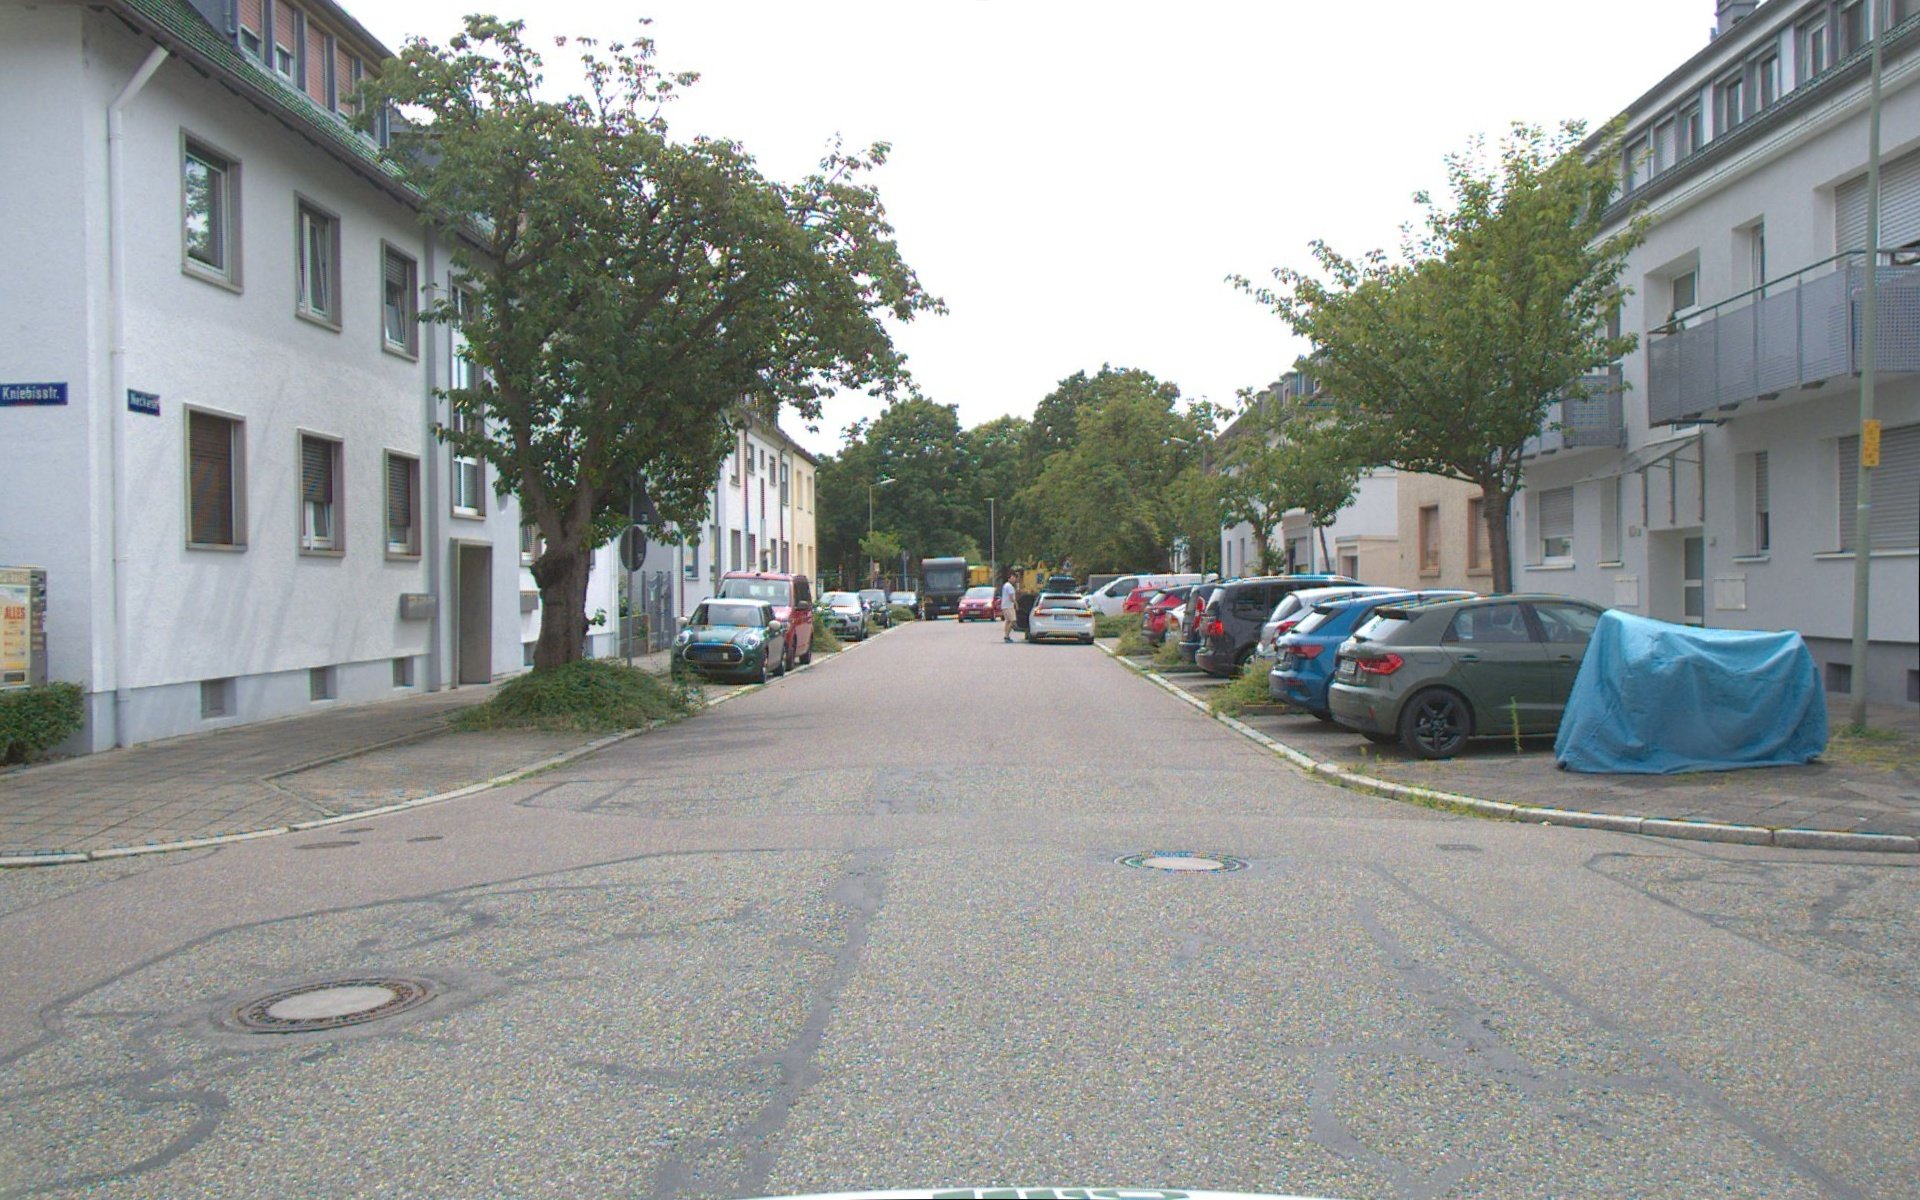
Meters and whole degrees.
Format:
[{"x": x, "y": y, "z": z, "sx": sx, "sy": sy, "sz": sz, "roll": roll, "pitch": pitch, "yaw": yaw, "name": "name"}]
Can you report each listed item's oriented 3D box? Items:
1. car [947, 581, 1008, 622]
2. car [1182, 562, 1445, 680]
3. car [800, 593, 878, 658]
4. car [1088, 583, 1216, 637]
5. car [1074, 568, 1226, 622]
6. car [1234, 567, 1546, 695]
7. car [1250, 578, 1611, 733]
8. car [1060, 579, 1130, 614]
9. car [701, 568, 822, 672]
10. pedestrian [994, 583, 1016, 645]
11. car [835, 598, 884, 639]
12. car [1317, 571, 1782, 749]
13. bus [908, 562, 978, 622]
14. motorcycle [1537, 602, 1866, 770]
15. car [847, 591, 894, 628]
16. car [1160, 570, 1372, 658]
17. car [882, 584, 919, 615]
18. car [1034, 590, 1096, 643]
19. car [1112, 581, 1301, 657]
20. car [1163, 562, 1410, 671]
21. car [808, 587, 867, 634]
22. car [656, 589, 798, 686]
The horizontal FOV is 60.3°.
[{"x": 0.812, "y": 0.059, "z": 72.220, "sx": 1.951, "sy": 1.646, "sz": 4.004, "roll": -3, "pitch": 0, "yaw": 10, "name": "car"}, {"x": 5.401, "y": 0.305, "z": 25.596, "sx": 3.670, "sy": 1.591, "sz": 1.774, "roll": -3, "pitch": 0, "yaw": 2, "name": "car"}, {"x": -3.022, "y": 0.601, "z": 41.859, "sx": 1.617, "sy": 1.487, "sz": 3.552, "roll": -3, "pitch": 0, "yaw": 1, "name": "car"}, {"x": 6.153, "y": 0.309, "z": 53.313, "sx": 3.905, "sy": 1.545, "sz": 1.723, "roll": -3, "pitch": 0, "yaw": 1, "name": "car"}, {"x": 6.358, "y": -0.161, "z": 55.713, "sx": 4.874, "sy": 1.545, "sz": 1.768, "roll": -3, "pitch": 0, "yaw": -1, "name": "car"}, {"x": 5.967, "y": 0.417, "z": 23.261, "sx": 3.905, "sy": 1.545, "sz": 1.723, "roll": -3, "pitch": 0, "yaw": 1, "name": "car"}, {"x": 5.009, "y": 0.569, "z": 17.923, "sx": 3.445, "sy": 1.437, "sz": 1.559, "roll": -3, "pitch": 0, "yaw": 1, "name": "car"}, {"x": 6.905, "y": -0.198, "z": 85.096, "sx": 3.456, "sy": 1.630, "sz": 1.774, "roll": -3, "pitch": 0, "yaw": 2, "name": "car"}, {"x": -4.190, "y": 0.390, "z": 35.591, "sx": 1.952, "sy": 2.049, "sz": 4.521, "roll": -1, "pitch": 0, "yaw": 1, "name": "car"}, {"x": 1.280, "y": 0.391, "z": 46.831, "sx": 0.511, "sy": 1.734, "sz": 0.445, "roll": -3, "pitch": 0, "yaw": 5, "name": "pedestrian"}, {"x": -3.524, "y": 0.628, "z": 58.558, "sx": 1.507, "sy": 1.324, "sz": 3.721, "roll": -3, "pitch": 0, "yaw": -1, "name": "car"}, {"x": 5.357, "y": 0.523, "z": 15.394, "sx": 3.670, "sy": 1.389, "sz": 1.774, "roll": -3, "pitch": 0, "yaw": 2, "name": "car"}, {"x": -0.772, "y": -0.414, "z": 85.290, "sx": 2.941, "sy": 2.809, "sz": 8.928, "roll": -3, "pitch": 0, "yaw": 3, "name": "bus"}, {"x": 5.750, "y": 0.647, "z": 12.929, "sx": 2.148, "sy": 1.232, "sz": 0.940, "roll": -1, "pitch": 0, "yaw": -1, "name": "motorcycle"}, {"x": -3.606, "y": 0.374, "z": 67.273, "sx": 1.617, "sy": 1.401, "sz": 3.722, "roll": -3, "pitch": 0, "yaw": 1, "name": "car"}, {"x": 6.081, "y": 0.269, "z": 33.215, "sx": 3.905, "sy": 1.545, "sz": 1.723, "roll": -3, "pitch": 0, "yaw": 1, "name": "car"}, {"x": -3.080, "y": -0.033, "z": 86.383, "sx": 1.587, "sy": 1.528, "sz": 4.001, "roll": -3, "pitch": 0, "yaw": 2, "name": "car"}, {"x": 2.978, "y": 0.446, "z": 47.429, "sx": 1.652, "sy": 1.377, "sz": 3.828, "roll": -3, "pitch": 0, "yaw": 2, "name": "car"}, {"x": 5.415, "y": 0.404, "z": 36.675, "sx": 3.905, "sy": 1.463, "sz": 1.723, "roll": -3, "pitch": 0, "yaw": 1, "name": "car"}, {"x": 5.601, "y": 0.274, "z": 28.754, "sx": 3.904, "sy": 1.646, "sz": 1.868, "roll": -3, "pitch": 0, "yaw": 2, "name": "car"}, {"x": -3.931, "y": 0.326, "z": 53.502, "sx": 1.618, "sy": 1.401, "sz": 3.721, "roll": -3, "pitch": 0, "yaw": -1, "name": "car"}, {"x": -4.197, "y": 0.638, "z": 30.294, "sx": 1.726, "sy": 1.581, "sz": 3.733, "roll": -3, "pitch": 0, "yaw": 5, "name": "car"}]
